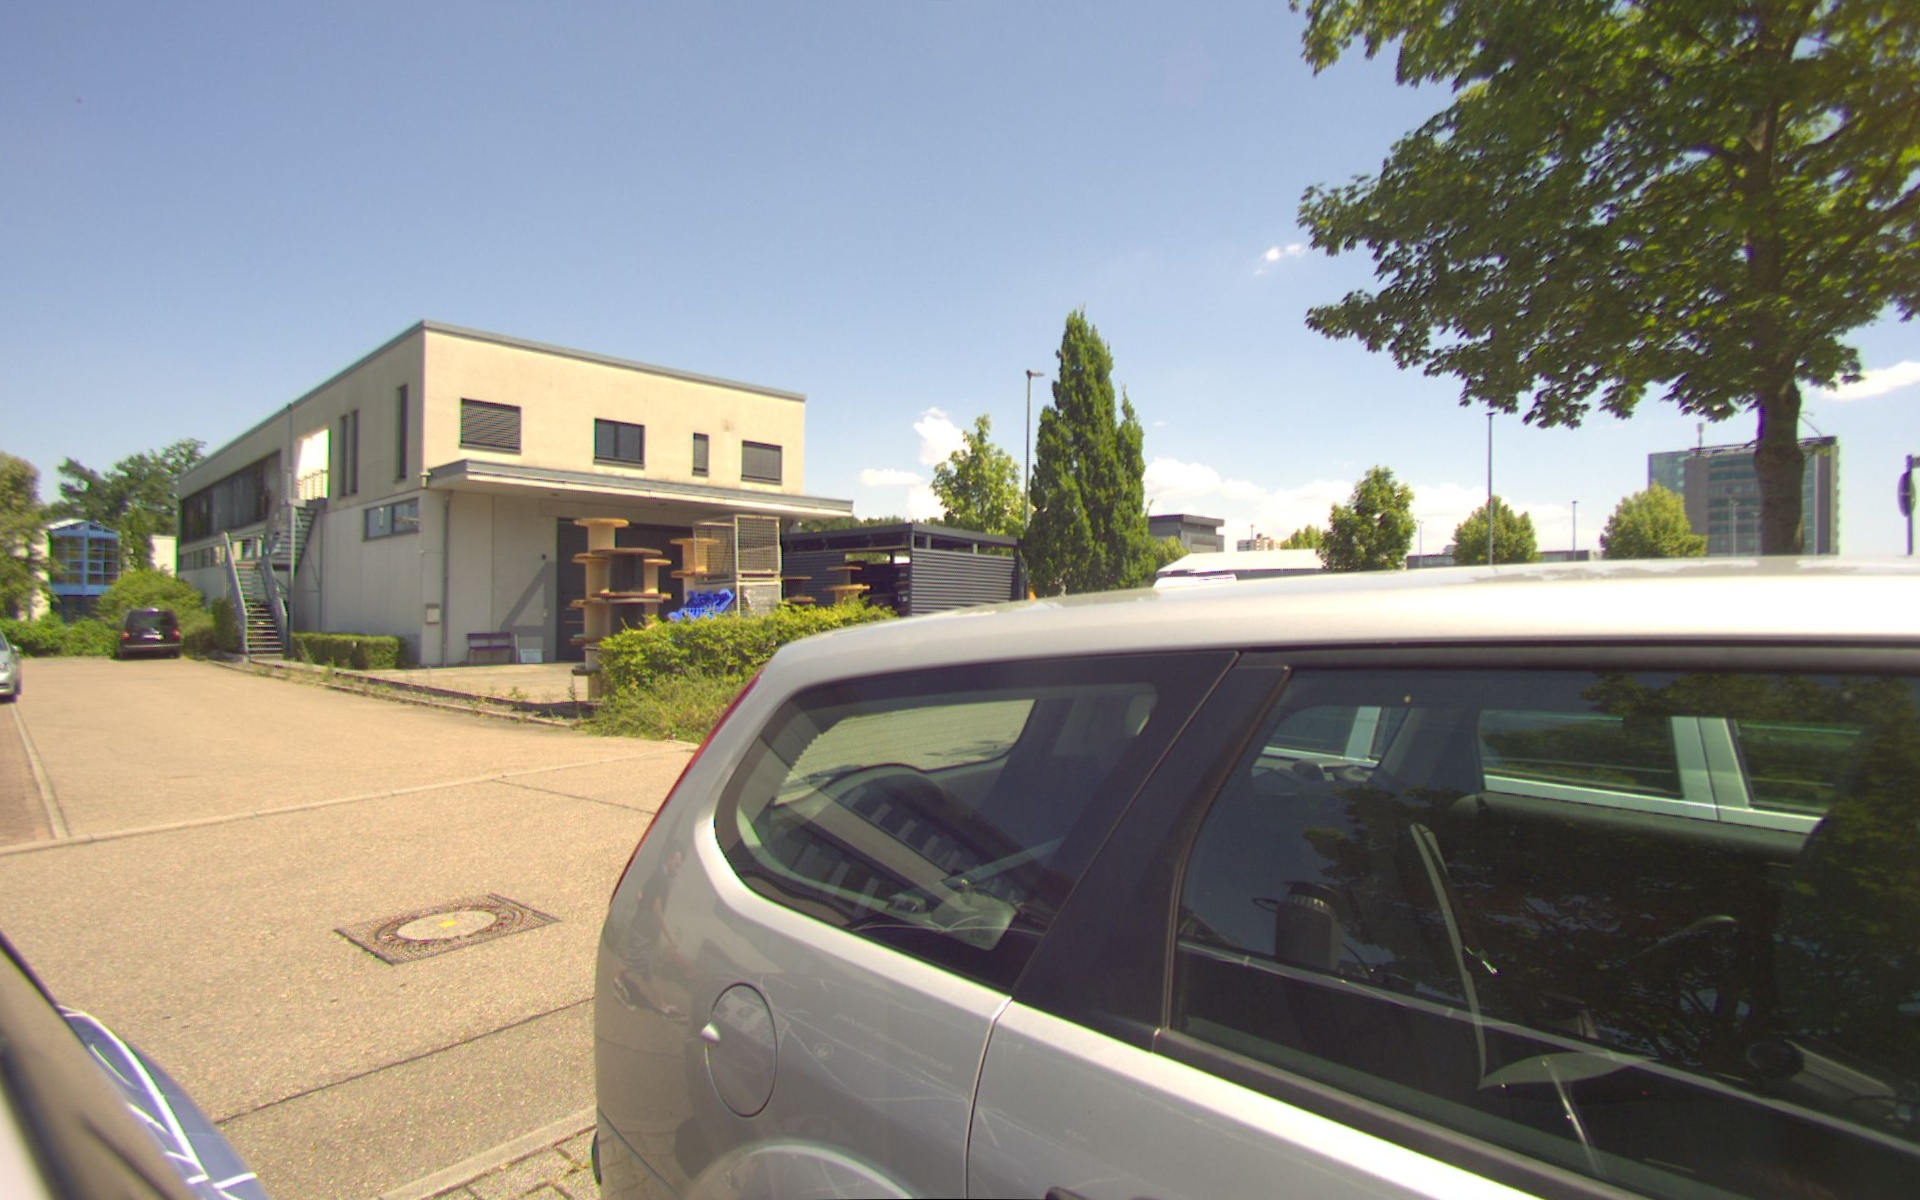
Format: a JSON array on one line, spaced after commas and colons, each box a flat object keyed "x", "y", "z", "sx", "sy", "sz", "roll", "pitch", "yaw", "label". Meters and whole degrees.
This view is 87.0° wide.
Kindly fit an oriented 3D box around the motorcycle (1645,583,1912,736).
[{"x": 8.035, "y": 0.569, "z": 10.051, "sx": 1.986, "sy": 1.400, "sz": 0.478, "roll": -2, "pitch": -1, "yaw": 38, "label": "motorcycle"}]

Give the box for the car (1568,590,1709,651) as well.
[{"x": 18.598, "y": 0.532, "z": 27.690, "sx": 3.932, "sy": 1.533, "sz": 1.658, "roll": -1, "pitch": 0, "yaw": -31, "label": "car"}]

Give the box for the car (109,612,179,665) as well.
[{"x": -30.059, "y": 1.369, "z": 37.247, "sx": 1.761, "sy": 1.817, "sz": 4.004, "roll": -1, "pitch": 0, "yaw": -43, "label": "car"}]

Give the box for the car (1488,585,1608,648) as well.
[{"x": 17.403, "y": 0.455, "z": 29.902, "sx": 3.936, "sy": 1.751, "sz": 1.776, "roll": -1, "pitch": 0, "yaw": -39, "label": "car"}]

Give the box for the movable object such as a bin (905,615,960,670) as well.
[{"x": -0.665, "y": 1.001, "z": 24.312, "sx": 1.056, "sy": 1.280, "sz": 0.761, "roll": -1, "pitch": -1, "yaw": -40, "label": "movable object such as a bin"}]

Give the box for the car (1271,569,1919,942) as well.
[{"x": 3.743, "y": 0.617, "z": 5.016, "sx": 3.886, "sy": 1.459, "sz": 1.632, "roll": -1, "pitch": -1, "yaw": 38, "label": "car"}]

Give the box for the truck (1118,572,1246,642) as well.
[{"x": 9.190, "y": 0.265, "z": 41.597, "sx": 5.614, "sy": 2.692, "sz": 2.420, "roll": -1, "pitch": -1, "yaw": -45, "label": "truck"}]

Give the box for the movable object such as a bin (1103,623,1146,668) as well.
[{"x": 3.745, "y": 1.022, "z": 23.074, "sx": 0.581, "sy": 0.977, "sz": 0.761, "roll": -1, "pitch": -1, "yaw": -40, "label": "movable object such as a bin"}]

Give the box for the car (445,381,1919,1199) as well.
[{"x": 1.320, "y": 0.619, "z": 0.965, "sx": 4.345, "sy": 1.490, "sz": 1.702, "roll": -1, "pitch": -1, "yaw": 41, "label": "car"}]

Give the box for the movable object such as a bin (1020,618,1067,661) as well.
[{"x": 2.207, "y": 1.041, "z": 26.715, "sx": 0.972, "sy": 1.092, "sz": 0.761, "roll": -1, "pitch": -1, "yaw": -40, "label": "movable object such as a bin"}]

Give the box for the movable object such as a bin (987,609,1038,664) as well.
[{"x": 1.354, "y": 0.924, "z": 26.035, "sx": 1.056, "sy": 1.346, "sz": 0.761, "roll": -1, "pitch": -1, "yaw": -40, "label": "movable object such as a bin"}]

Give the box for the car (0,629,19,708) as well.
[{"x": -19.073, "y": 1.263, "z": 19.166, "sx": 1.686, "sy": 1.402, "sz": 3.816, "roll": 1, "pitch": -1, "yaw": -41, "label": "car"}]

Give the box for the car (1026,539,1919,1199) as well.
[{"x": 2.270, "y": 0.615, "z": 3.086, "sx": 3.886, "sy": 1.490, "sz": 1.632, "roll": -1, "pitch": -1, "yaw": 38, "label": "car"}]

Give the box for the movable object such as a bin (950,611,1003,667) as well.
[{"x": 0.413, "y": 0.952, "z": 25.090, "sx": 1.056, "sy": 1.346, "sz": 0.761, "roll": -1, "pitch": -1, "yaw": -40, "label": "movable object such as a bin"}]
